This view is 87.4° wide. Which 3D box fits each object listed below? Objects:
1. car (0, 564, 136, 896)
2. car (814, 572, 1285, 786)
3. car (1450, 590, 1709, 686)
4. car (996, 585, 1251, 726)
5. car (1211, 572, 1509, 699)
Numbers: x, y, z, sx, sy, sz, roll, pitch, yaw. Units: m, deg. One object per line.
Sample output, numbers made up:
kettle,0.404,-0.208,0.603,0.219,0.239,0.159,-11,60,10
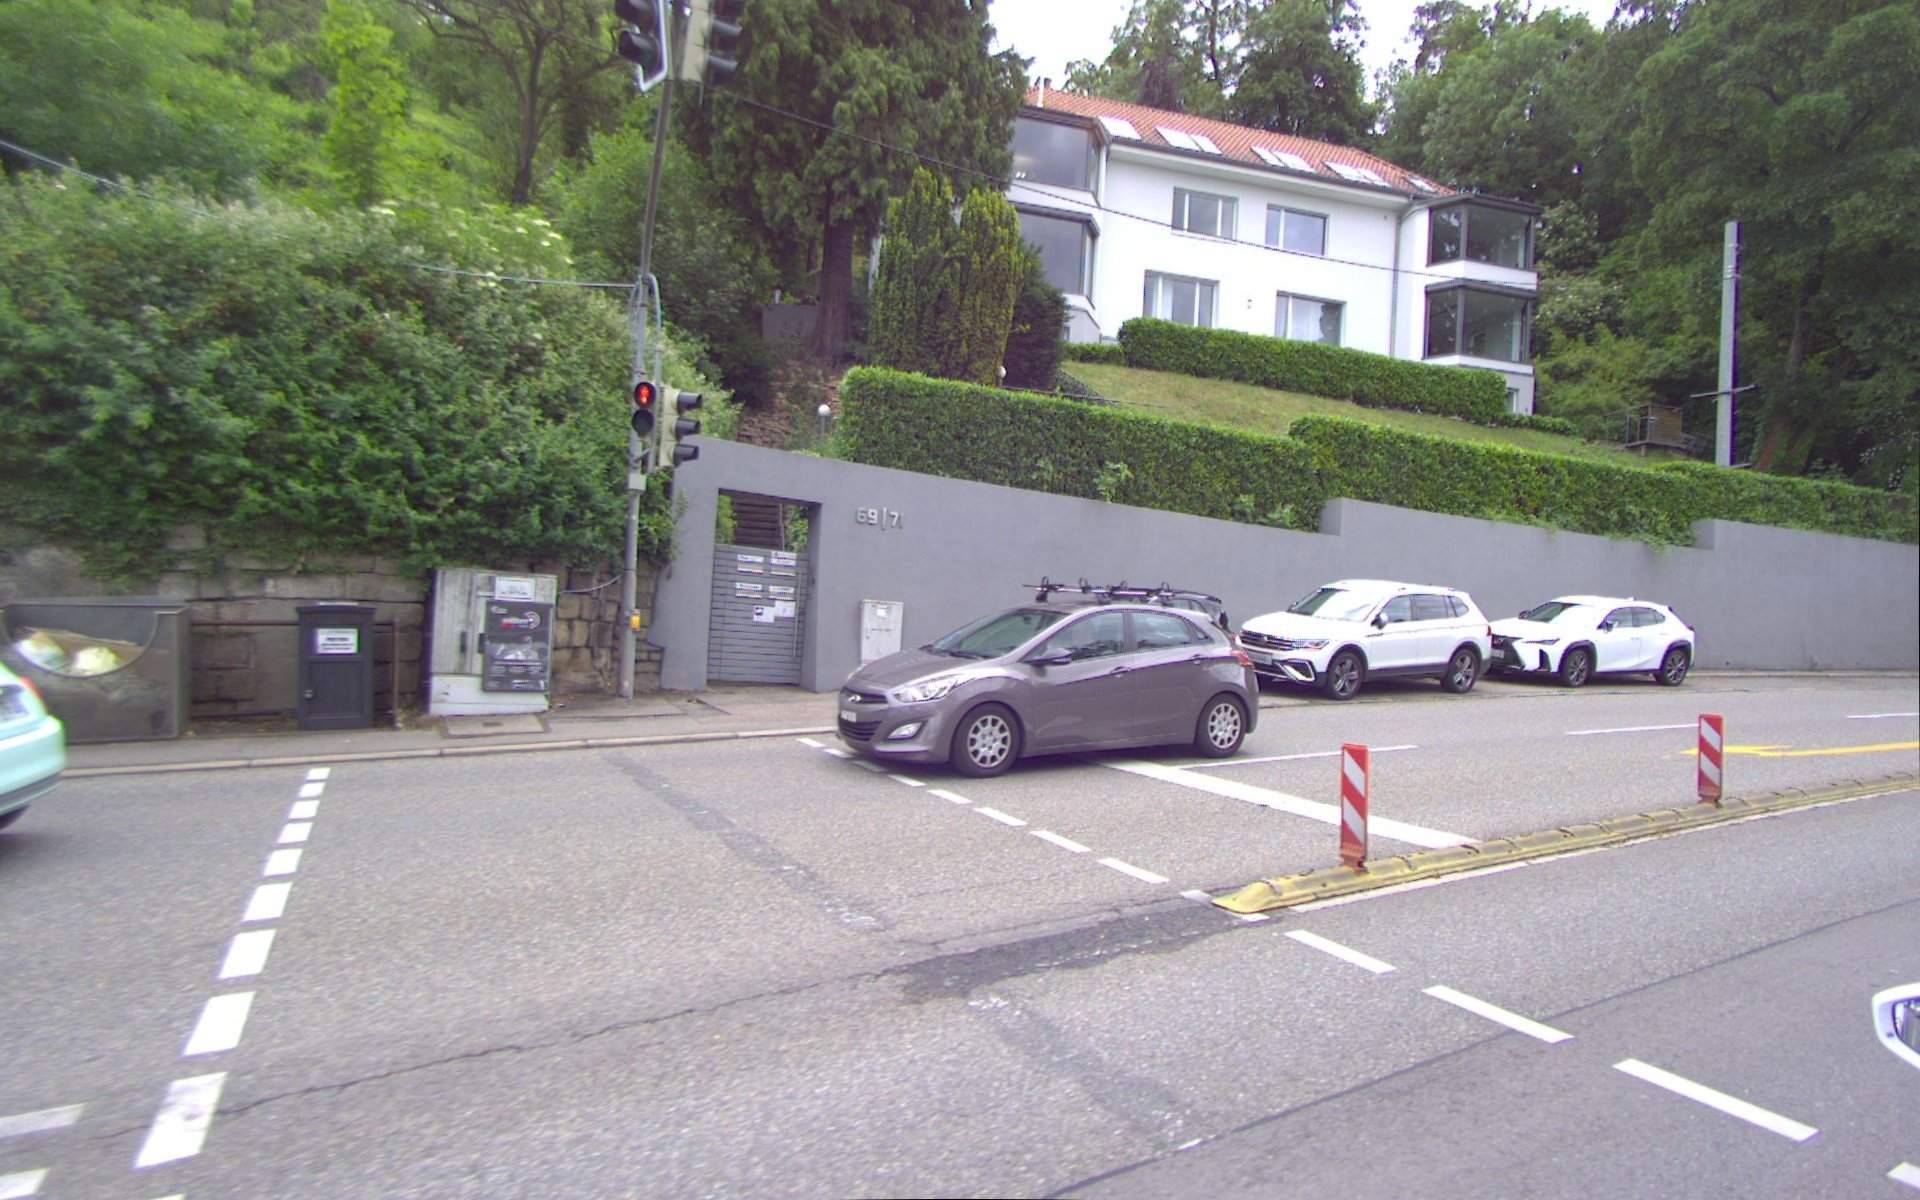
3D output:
car,-6.236,0.543,4.470,3.608,1.486,1.707,1,1,-23
car,0.911,0.637,9.397,4.158,1.619,1.702,2,0,-31
car,11.493,0.691,18.644,4.411,1.594,1.828,2,1,-23
car,2.180,0.650,13.437,2.923,1.594,1.702,0,4,-31
car,6.437,0.520,16.045,4.704,1.754,1.850,1,2,-30
